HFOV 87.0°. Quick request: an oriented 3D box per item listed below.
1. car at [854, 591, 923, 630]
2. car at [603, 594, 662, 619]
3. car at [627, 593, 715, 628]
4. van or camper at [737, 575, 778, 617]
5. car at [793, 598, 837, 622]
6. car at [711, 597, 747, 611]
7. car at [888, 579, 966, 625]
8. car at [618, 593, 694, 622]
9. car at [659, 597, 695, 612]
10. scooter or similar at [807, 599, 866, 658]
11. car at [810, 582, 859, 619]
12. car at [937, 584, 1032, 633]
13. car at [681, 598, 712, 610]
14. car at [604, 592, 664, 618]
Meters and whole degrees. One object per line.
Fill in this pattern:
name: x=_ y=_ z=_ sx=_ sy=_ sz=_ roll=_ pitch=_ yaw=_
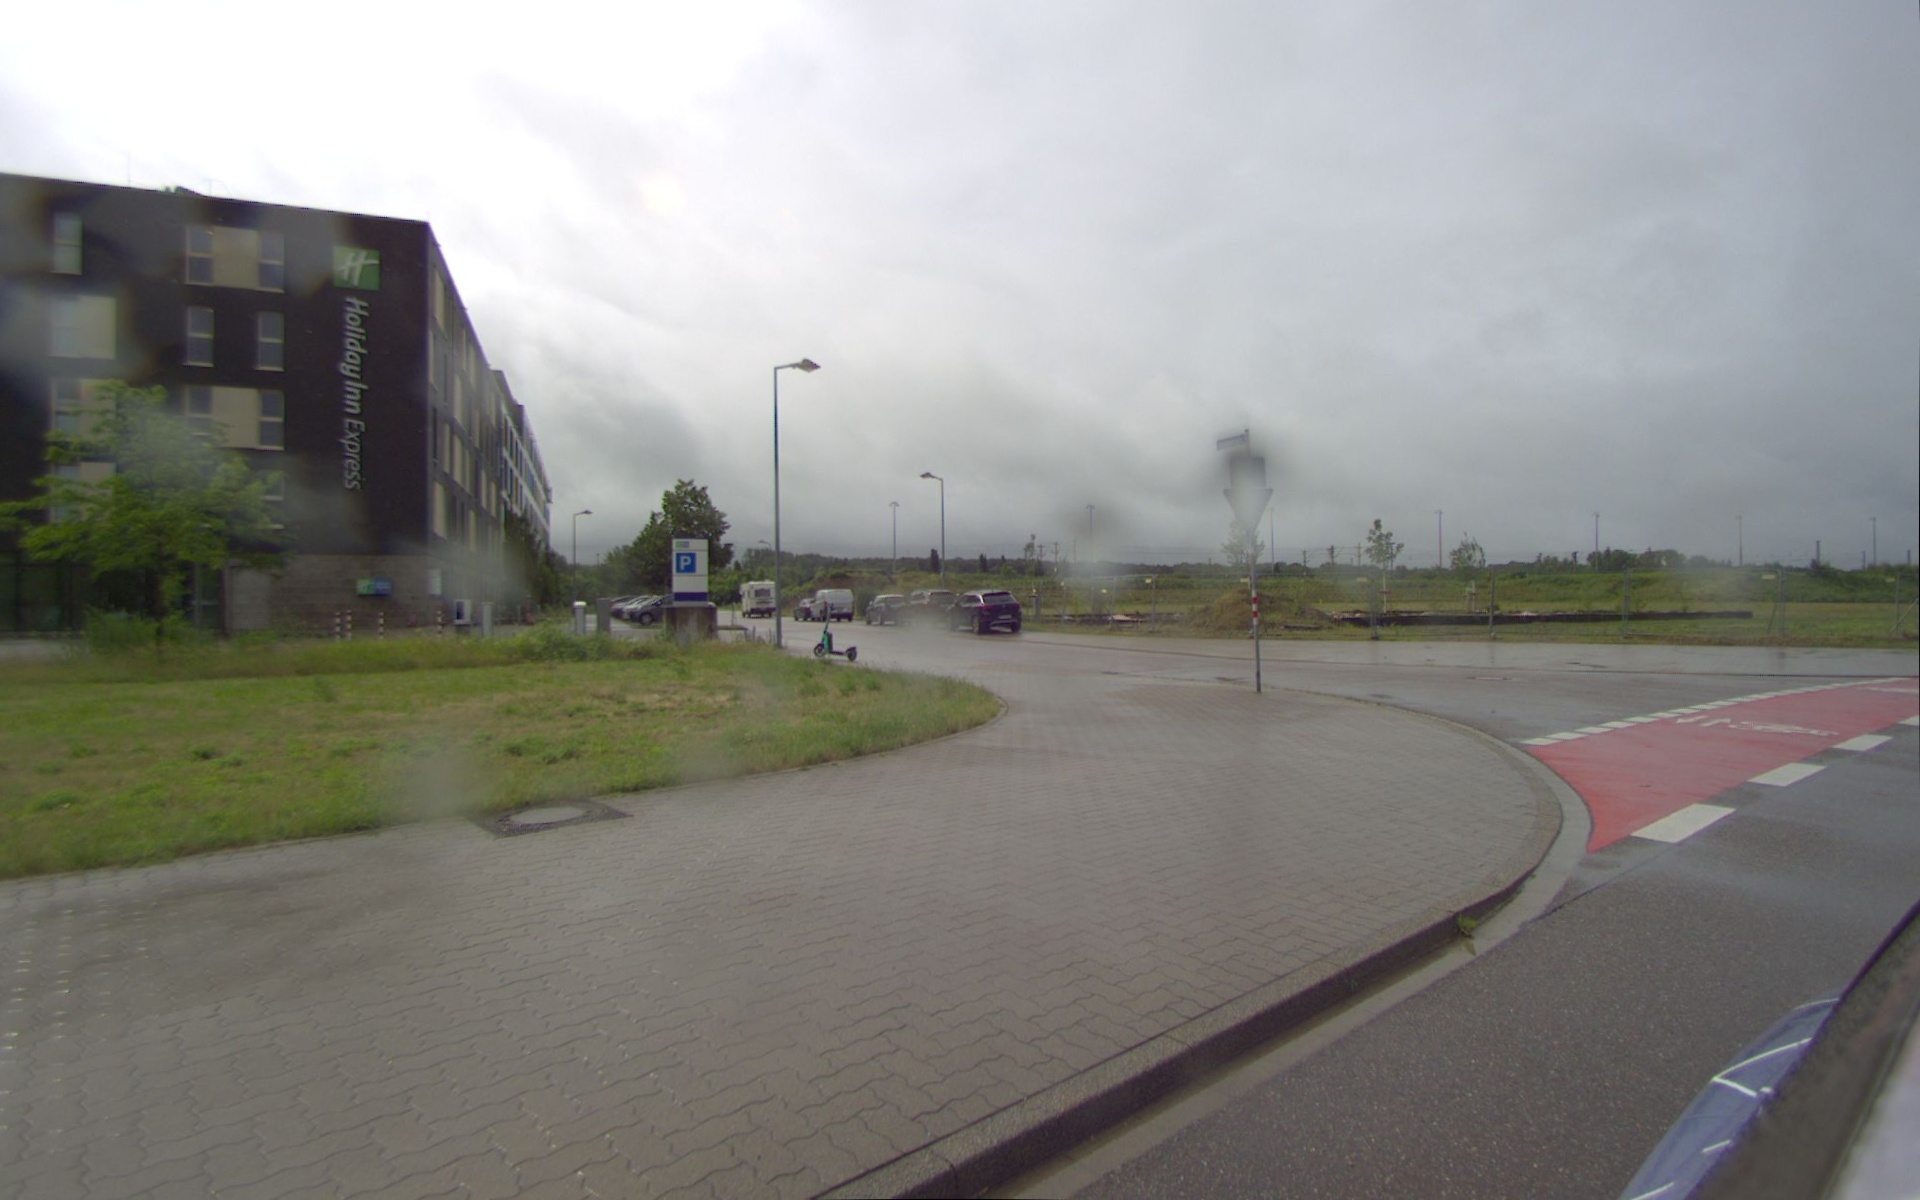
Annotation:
car: x=-3.416 y=0.520 z=47.946 sx=1.958 sy=1.663 sz=4.004 roll=0 pitch=-3 yaw=-24
car: x=-22.697 y=0.451 z=70.039 sx=3.762 sy=1.637 sz=1.788 roll=0 pitch=-3 yaw=-22
car: x=-13.505 y=0.496 z=47.299 sx=3.762 sy=1.548 sz=1.788 roll=0 pitch=-3 yaw=-22
van or camper: x=-17.939 y=-0.285 z=89.185 sx=2.476 sy=3.244 sz=6.810 roll=0 pitch=-3 yaw=-20
car: x=-9.386 y=0.662 z=65.085 sx=1.958 sy=1.432 sz=4.007 roll=0 pitch=-1 yaw=-21
car: x=-29.618 y=0.524 z=129.788 sx=4.277 sy=1.710 sz=1.802 roll=0 pitch=-3 yaw=-18
car: x=-1.479 y=0.118 z=43.703 sx=1.958 sy=1.751 sz=4.004 roll=0 pitch=-3 yaw=-24
car: x=-16.346 y=0.411 z=54.368 sx=3.728 sy=1.414 sz=1.771 roll=0 pitch=-3 yaw=-22
car: x=-35.700 y=0.573 z=127.728 sx=4.277 sy=1.710 sz=1.802 roll=0 pitch=-3 yaw=-18
scooter or similar: x=-2.668 y=0.602 z=21.860 sx=1.278 sy=1.202 sz=0.496 roll=1 pitch=-1 yaw=40
car: x=-7.529 y=0.042 z=60.220 sx=1.958 sy=1.796 sz=4.342 roll=0 pitch=-5 yaw=-20
car: x=0.858 y=0.294 z=38.265 sx=1.959 sy=1.638 sz=4.007 roll=-3 pitch=1 yaw=-24
car: x=-37.429 y=0.566 z=143.689 sx=3.919 sy=1.750 sz=2.003 roll=0 pitch=0 yaw=-28
car: x=-21.946 y=0.332 z=68.133 sx=3.762 sy=1.637 sz=1.788 roll=0 pitch=-3 yaw=-22
